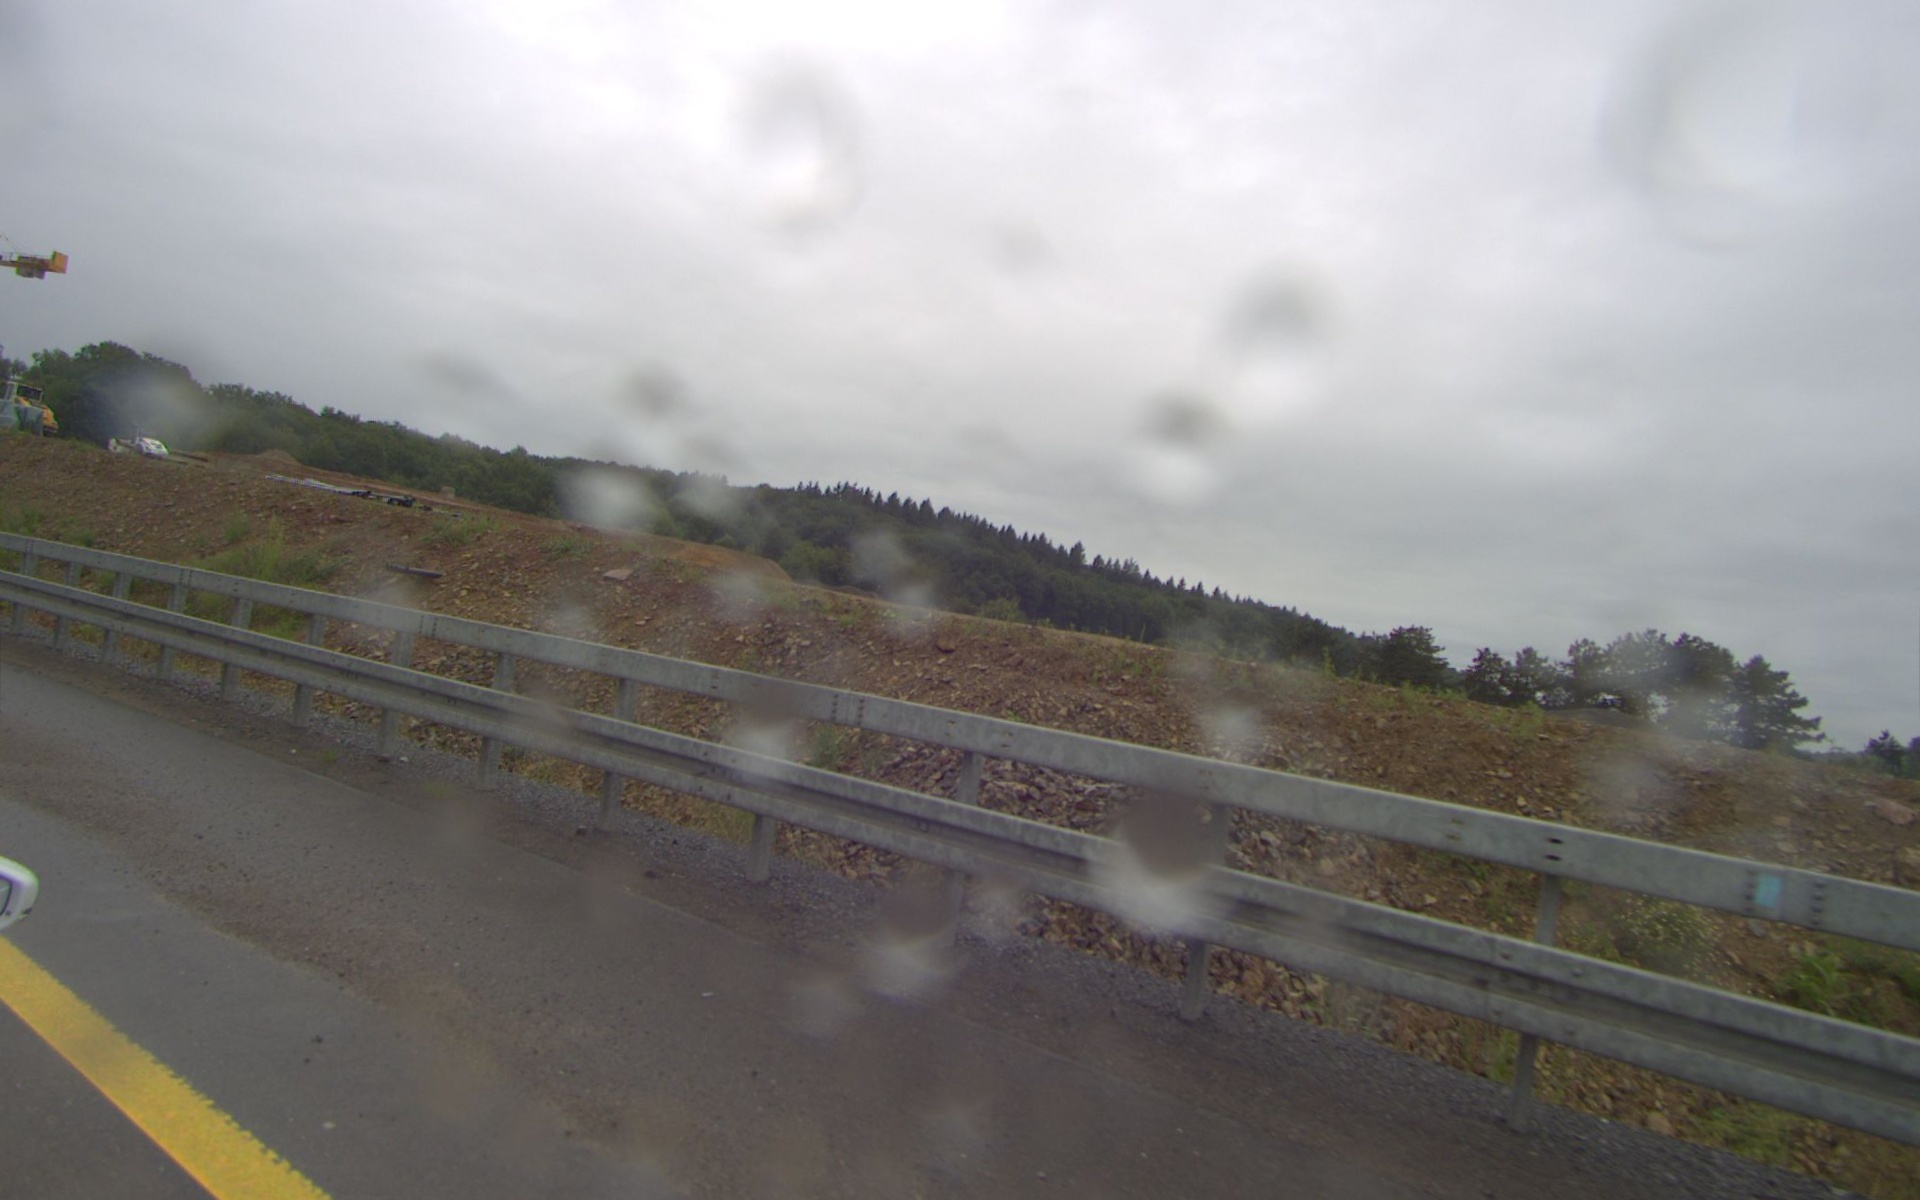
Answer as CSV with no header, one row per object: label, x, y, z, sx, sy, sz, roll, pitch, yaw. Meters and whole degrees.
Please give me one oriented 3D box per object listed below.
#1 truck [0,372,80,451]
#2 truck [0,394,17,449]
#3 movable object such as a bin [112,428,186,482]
truck,-58.541,-11.903,63.541,5.878,4.267,2.378,7,-1,31
truck,-57.740,-10.566,57.468,8.813,2.908,3.401,7,-2,33
movable object such as a bin,-65.428,-11.712,81.132,6.452,3.641,2.345,7,-1,32
